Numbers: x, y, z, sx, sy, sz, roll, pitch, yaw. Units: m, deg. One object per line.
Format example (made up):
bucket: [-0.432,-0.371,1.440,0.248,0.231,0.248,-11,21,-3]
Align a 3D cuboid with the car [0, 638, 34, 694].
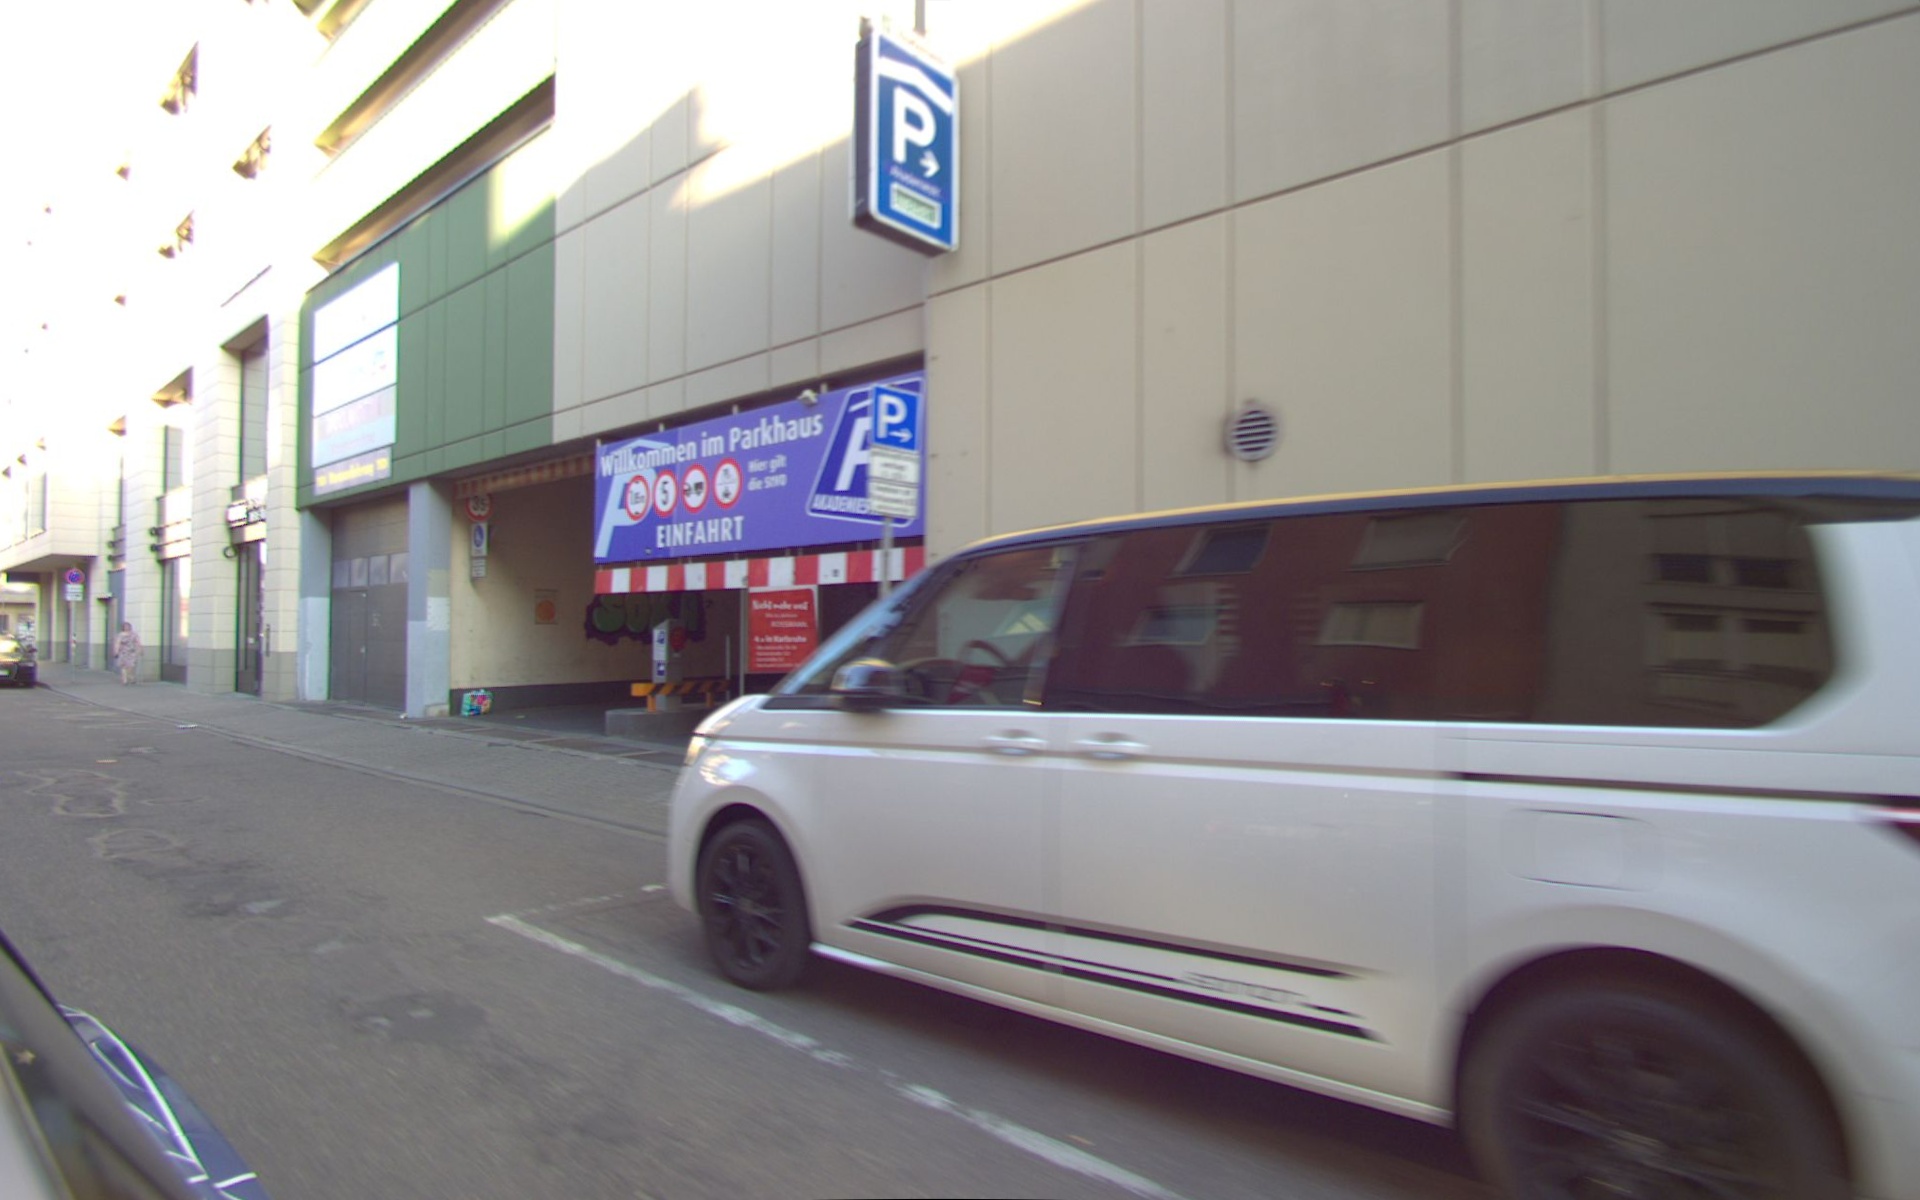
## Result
car: [-27.825,1.827,28.704,4.560,1.428,1.971,-1,-4,44]

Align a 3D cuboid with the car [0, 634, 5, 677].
car: [-34.589,1.898,34.917,3.623,1.460,1.796,-2,-3,37]

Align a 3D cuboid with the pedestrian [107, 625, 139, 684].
pedestrian: [-23.760,1.546,28.743,0.565,1.638,0.612,-2,-2,41]

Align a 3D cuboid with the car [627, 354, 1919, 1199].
car: [1.017,0.603,3.801,4.845,1.955,1.974,-2,-4,39]
